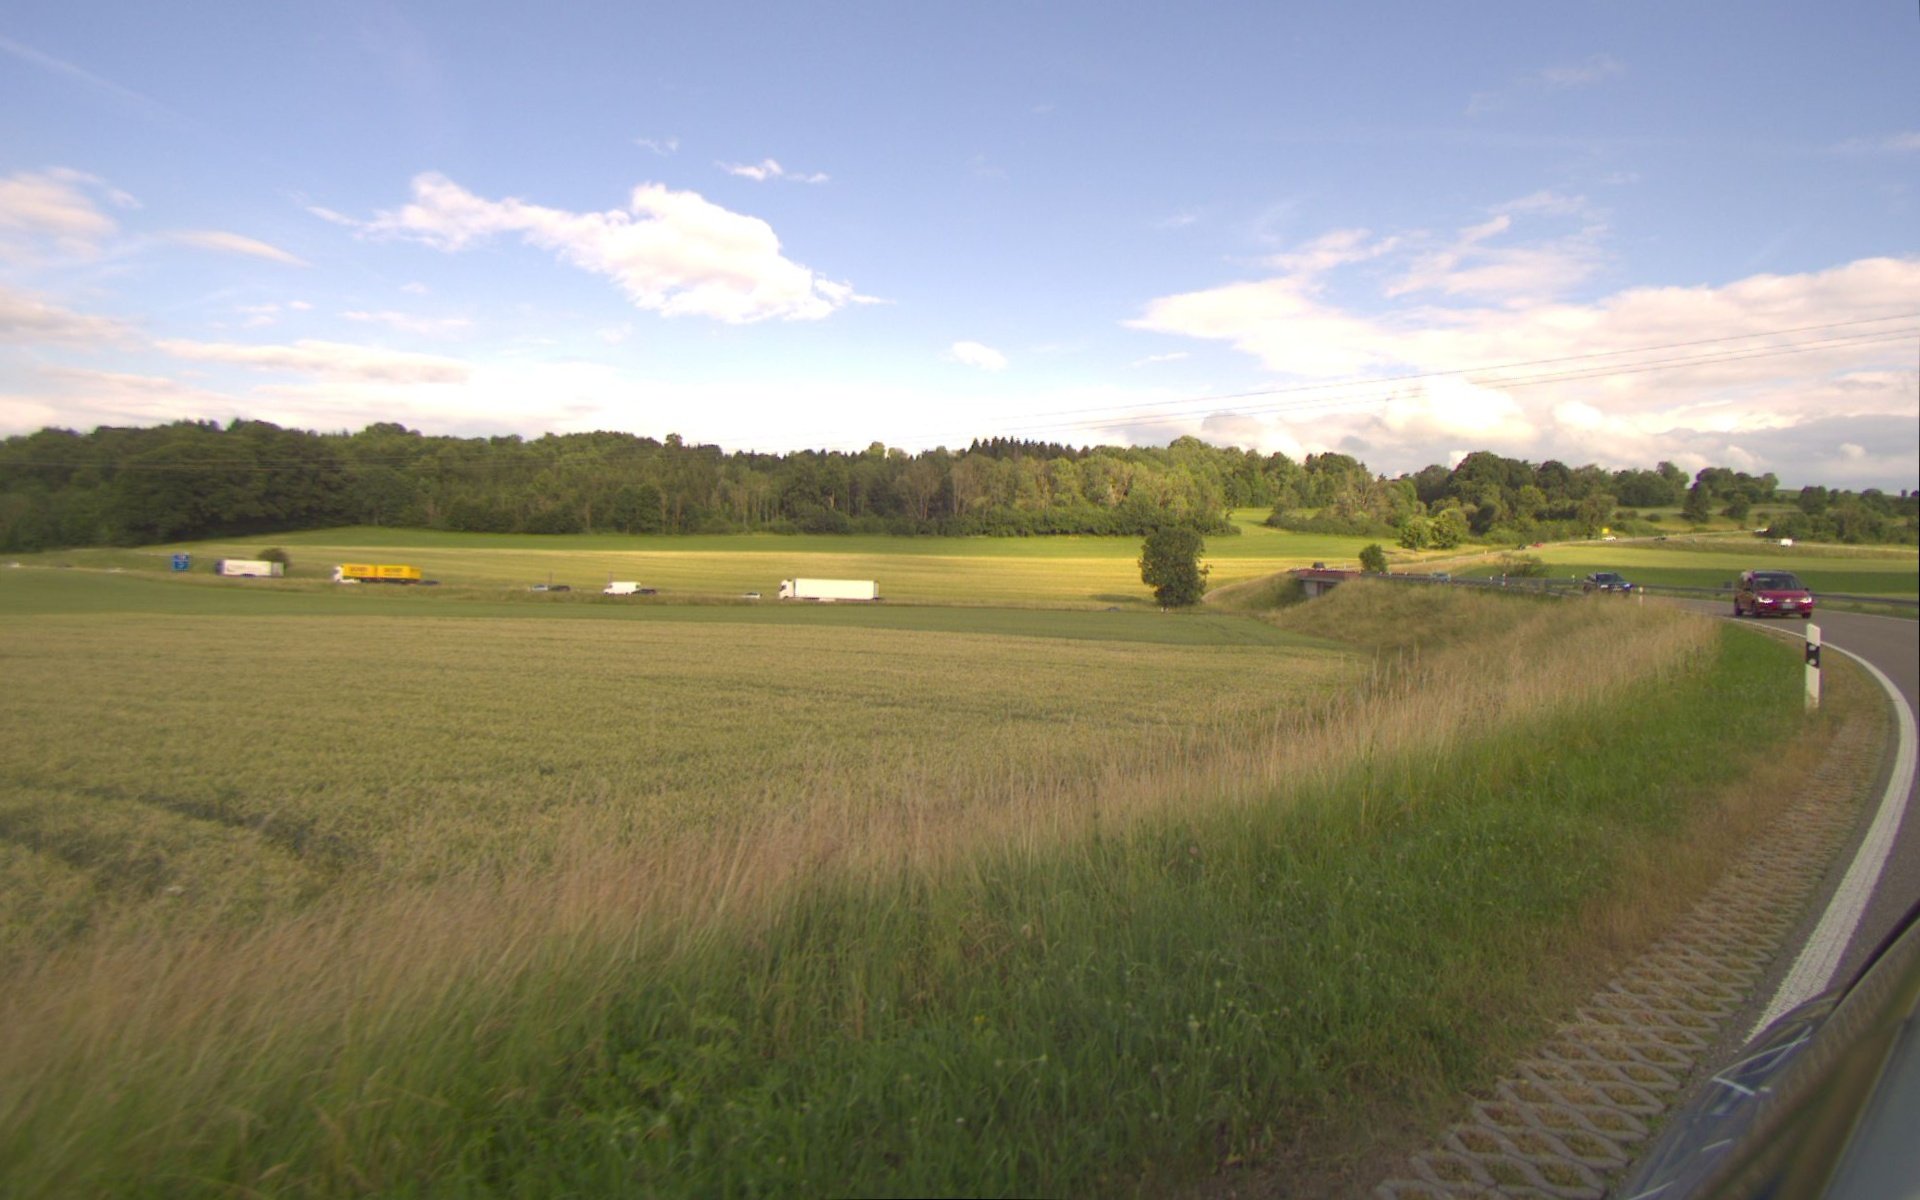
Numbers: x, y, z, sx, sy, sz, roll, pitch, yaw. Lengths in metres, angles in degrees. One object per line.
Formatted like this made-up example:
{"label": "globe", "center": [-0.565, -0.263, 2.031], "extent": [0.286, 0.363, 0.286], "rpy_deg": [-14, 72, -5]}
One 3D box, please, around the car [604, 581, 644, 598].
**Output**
{"label": "car", "center": [-57.089, -1.840, 172.148], "extent": [6.028, 2.618, 2.364], "rpy_deg": [2, -2, 12]}

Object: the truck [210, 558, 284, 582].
{"label": "truck", "center": [-140.687, -5.906, 199.667], "extent": [14.228, 4.041, 4.063], "rpy_deg": [2, 6, 17]}

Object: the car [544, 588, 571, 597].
{"label": "car", "center": [-67.263, -1.271, 169.080], "extent": [3.937, 1.538, 1.678], "rpy_deg": [1, 2, 11]}

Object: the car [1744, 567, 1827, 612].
{"label": "car", "center": [32.321, -0.380, 39.735], "extent": [1.806, 1.676, 3.959], "rpy_deg": [1, 0, 29]}

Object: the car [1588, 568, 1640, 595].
{"label": "car", "center": [41.931, -1.203, 64.973], "extent": [1.799, 1.631, 3.977], "rpy_deg": [3, 2, 18]}

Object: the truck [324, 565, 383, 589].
{"label": "truck", "center": [-113.476, -4.342, 189.397], "extent": [9.660, 4.107, 3.824], "rpy_deg": [1, 4, 15]}

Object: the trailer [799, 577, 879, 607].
{"label": "trailer", "center": [-19.409, -1.262, 162.298], "extent": [12.535, 4.525, 3.020], "rpy_deg": [2, 0, 13]}

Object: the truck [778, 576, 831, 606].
{"label": "truck", "center": [-25.094, -1.413, 163.663], "extent": [7.934, 4.525, 3.017], "rpy_deg": [2, 0, 13]}

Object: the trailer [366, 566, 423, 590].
{"label": "trailer", "center": [-104.519, -4.110, 186.988], "extent": [8.996, 4.107, 3.824], "rpy_deg": [1, 4, 15]}
